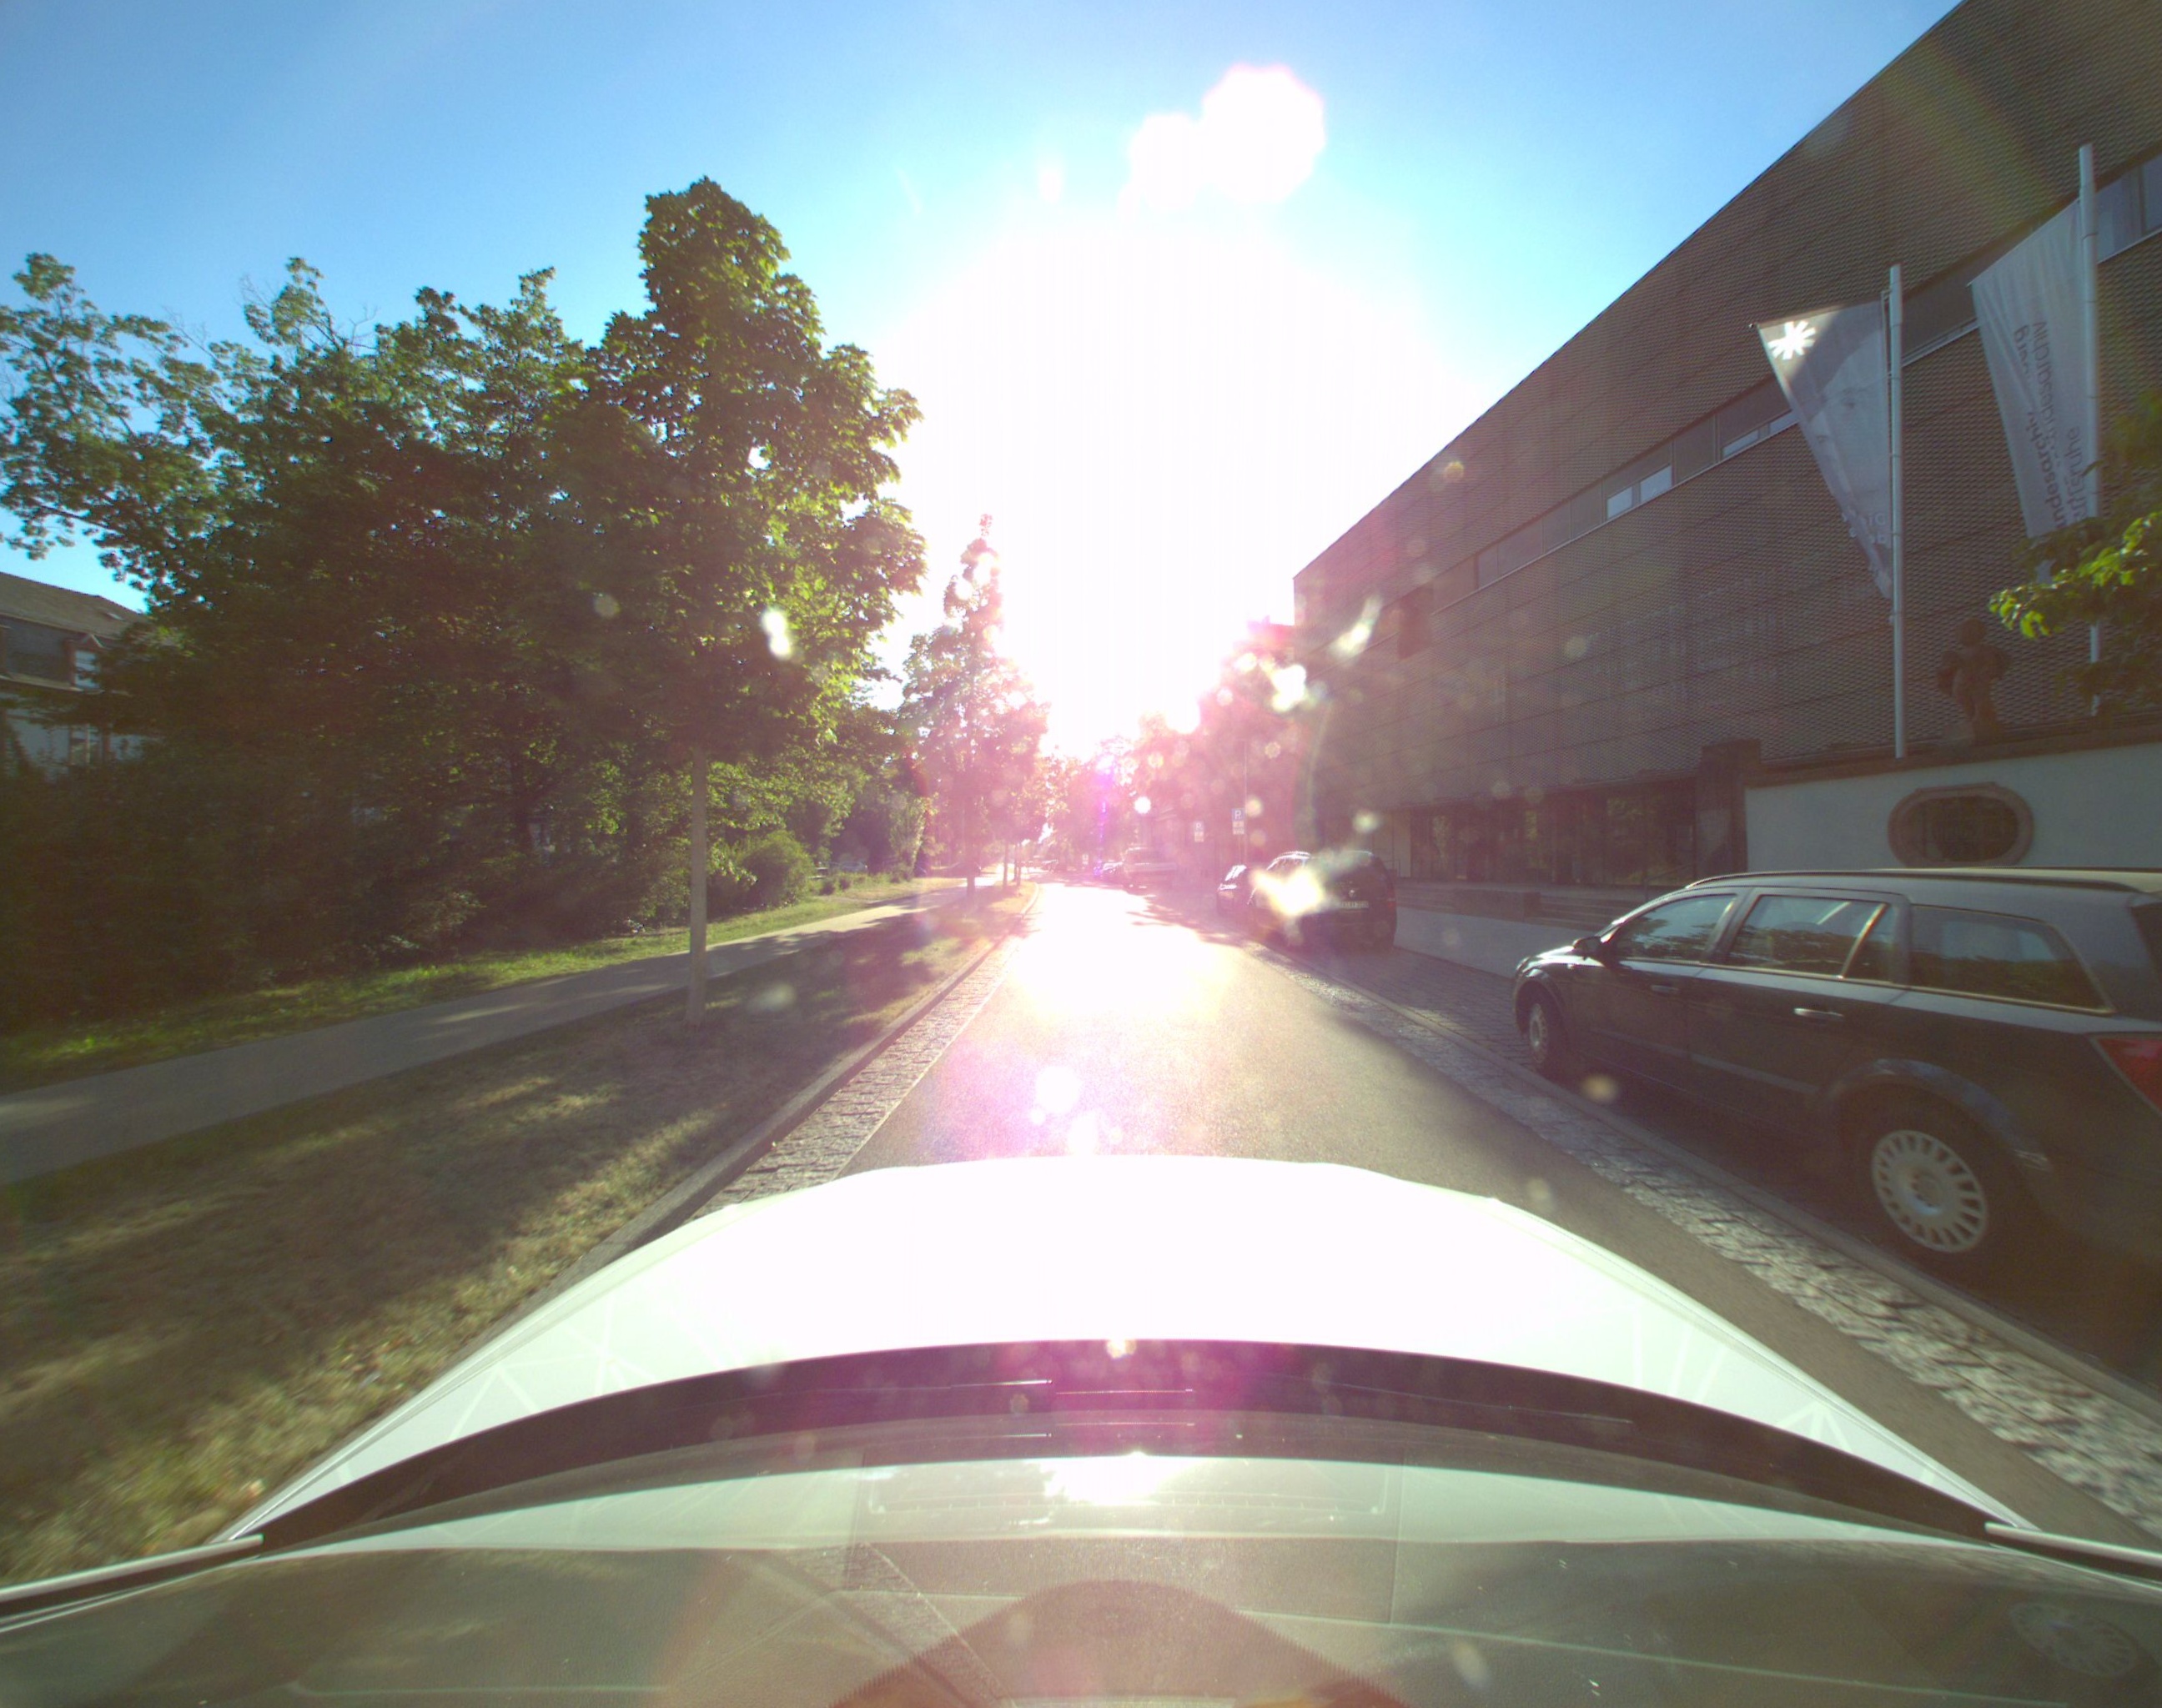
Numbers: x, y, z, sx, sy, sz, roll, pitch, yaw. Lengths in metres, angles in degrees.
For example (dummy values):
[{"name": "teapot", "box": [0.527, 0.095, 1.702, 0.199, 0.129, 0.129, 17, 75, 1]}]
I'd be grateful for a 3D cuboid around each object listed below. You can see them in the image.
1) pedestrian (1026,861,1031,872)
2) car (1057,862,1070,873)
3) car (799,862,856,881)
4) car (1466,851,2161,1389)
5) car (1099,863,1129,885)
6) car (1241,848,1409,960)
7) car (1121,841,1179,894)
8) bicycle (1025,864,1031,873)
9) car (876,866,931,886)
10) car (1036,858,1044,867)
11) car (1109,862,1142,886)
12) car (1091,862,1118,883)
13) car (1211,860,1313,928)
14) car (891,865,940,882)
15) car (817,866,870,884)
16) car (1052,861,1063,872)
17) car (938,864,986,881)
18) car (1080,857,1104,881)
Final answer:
[{"name": "pedestrian", "box": [-7.367, 1.752, 113.950, 0.686, 1.434, 1.024, -1, 0, -1]}, {"name": "car", "box": [-2.550, 1.987, 118.821, 1.788, 1.510, 3.999, -1, 0, 0]}, {"name": "car", "box": [-19.750, 1.363, 63.415, 4.010, 1.420, 1.755, 0, -1, -28]}, {"name": "car", "box": [4.004, 0.764, 4.411, 1.741, 1.466, 4.478, -3, 0, 1]}, {"name": "car", "box": [2.434, 1.472, 60.339, 1.688, 1.440, 4.097, -2, 0, -5]}, {"name": "car", "box": [4.233, 0.769, 14.840, 1.719, 1.669, 4.112, -2, 1, -1]}, {"name": "car", "box": [3.611, 0.647, 43.799, 2.206, 2.530, 6.141, -3, 0, -3]}, {"name": "bicycle", "box": [-7.360, 2.063, 113.904, 0.686, 1.202, 2.342, -1, 0, 0]}, {"name": "car", "box": [-14.409, 1.760, 66.030, 4.012, 1.420, 1.755, -1, 0, -30]}, {"name": "car", "box": [-9.373, 1.915, 184.840, 1.790, 1.999, 3.996, -1, 0, -3]}, {"name": "car", "box": [2.981, 1.327, 55.063, 1.688, 1.440, 3.545, -2, 0, -5]}, {"name": "car", "box": [1.880, 1.457, 66.328, 1.688, 1.565, 4.097, -2, 0, -5]}, {"name": "car", "box": [4.443, 0.936, 20.530, 1.718, 1.421, 3.906, -2, 1, 1]}, {"name": "car", "box": [-14.766, 1.746, 72.708, 3.934, 1.420, 1.756, -1, 0, -27]}, {"name": "car", "box": [-20.342, 1.803, 69.740, 4.015, 1.420, 1.753, -1, 0, -33]}, {"name": "car", "box": [-3.844, 2.082, 132.644, 1.790, 1.724, 3.996, -1, 0, -3]}, {"name": "car", "box": [-10.888, 1.689, 74.717, 4.013, 1.420, 1.754, -1, 0, -31]}, {"name": "car", "box": [0.999, 1.341, 73.867, 1.820, 2.013, 3.598, -1, 0, -6]}]
